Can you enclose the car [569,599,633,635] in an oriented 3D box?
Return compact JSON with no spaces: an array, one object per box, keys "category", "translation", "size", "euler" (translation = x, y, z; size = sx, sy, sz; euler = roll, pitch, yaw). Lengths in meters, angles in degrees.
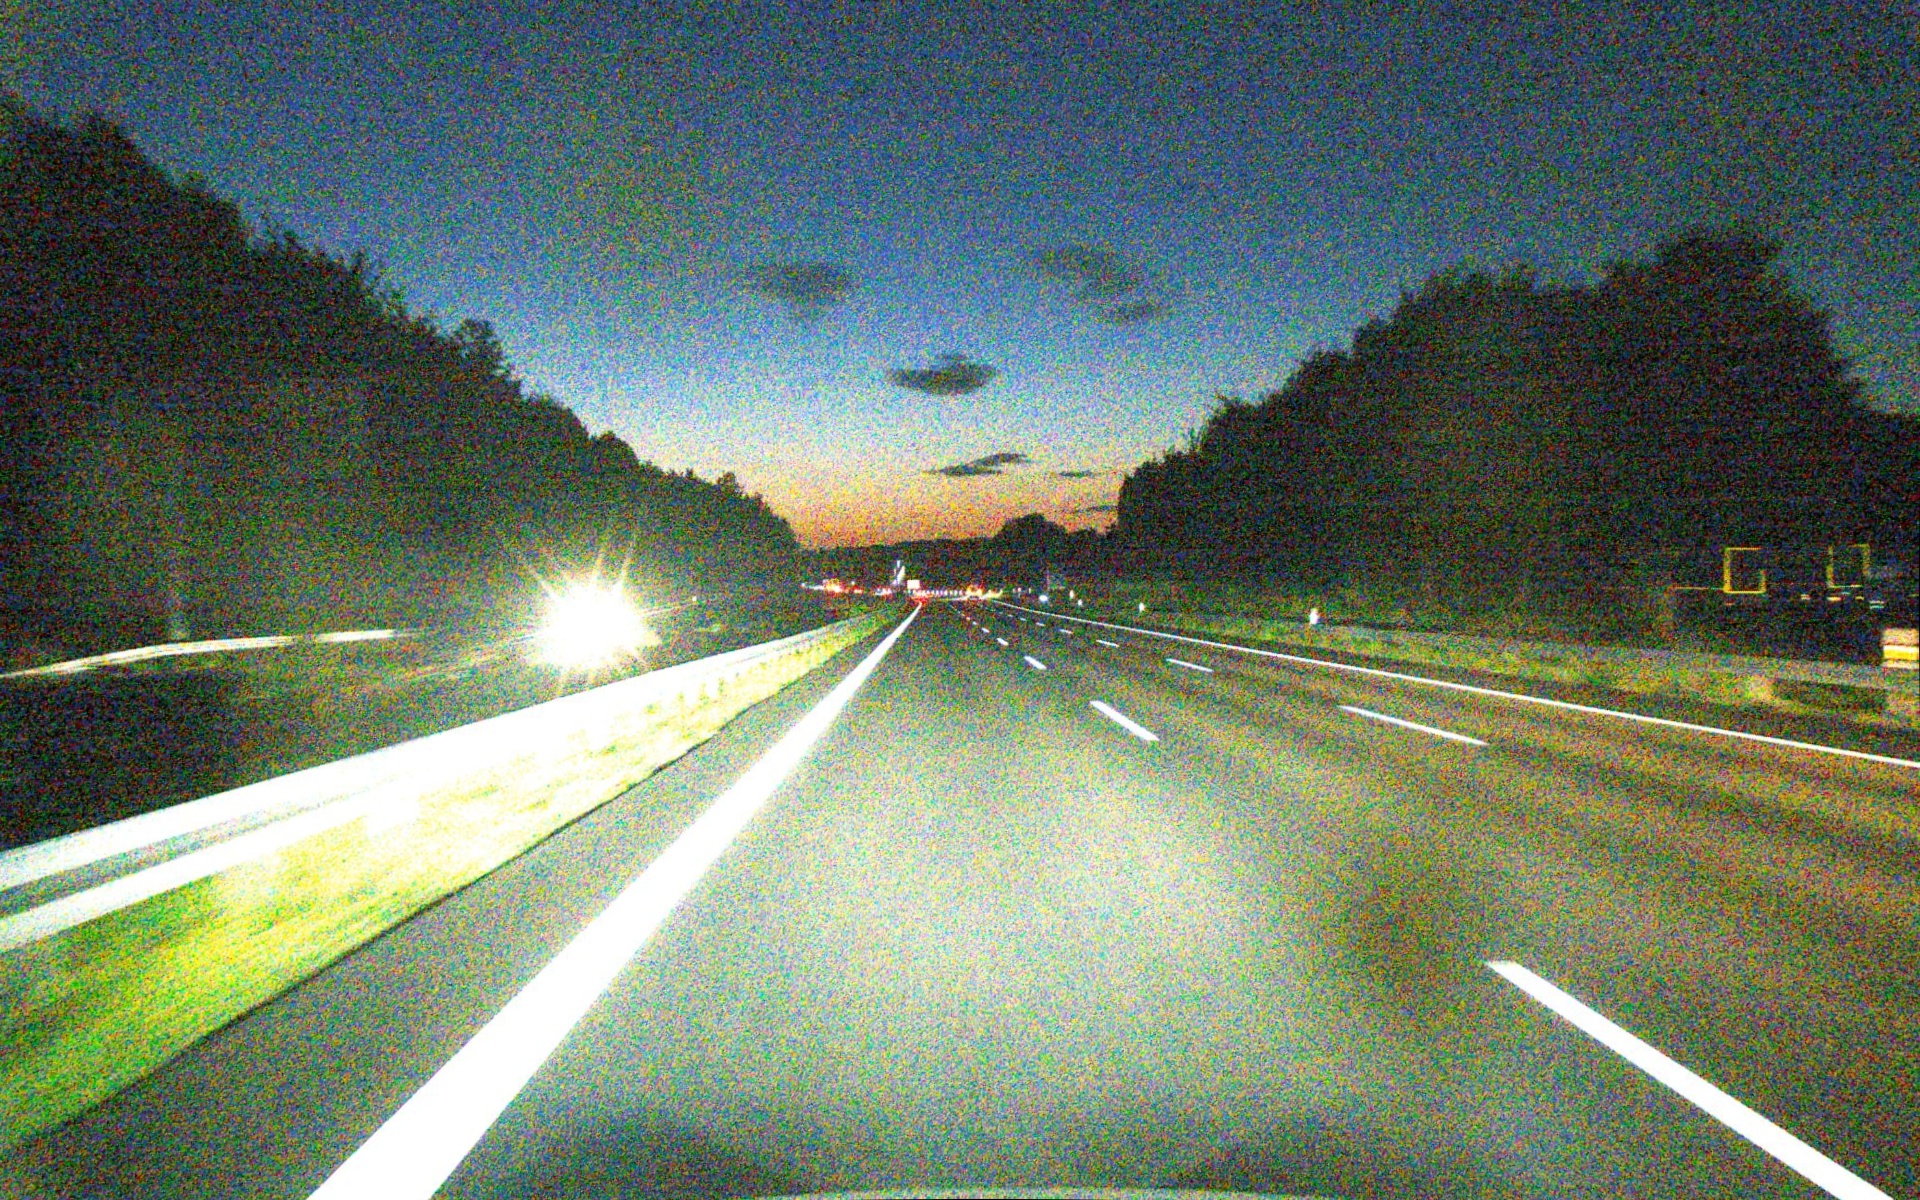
[{"category":"car","translation":[-16.983,0.774,78.436],"size":[1.953,1.530,5.199],"euler":[-2,0,-1]}]
